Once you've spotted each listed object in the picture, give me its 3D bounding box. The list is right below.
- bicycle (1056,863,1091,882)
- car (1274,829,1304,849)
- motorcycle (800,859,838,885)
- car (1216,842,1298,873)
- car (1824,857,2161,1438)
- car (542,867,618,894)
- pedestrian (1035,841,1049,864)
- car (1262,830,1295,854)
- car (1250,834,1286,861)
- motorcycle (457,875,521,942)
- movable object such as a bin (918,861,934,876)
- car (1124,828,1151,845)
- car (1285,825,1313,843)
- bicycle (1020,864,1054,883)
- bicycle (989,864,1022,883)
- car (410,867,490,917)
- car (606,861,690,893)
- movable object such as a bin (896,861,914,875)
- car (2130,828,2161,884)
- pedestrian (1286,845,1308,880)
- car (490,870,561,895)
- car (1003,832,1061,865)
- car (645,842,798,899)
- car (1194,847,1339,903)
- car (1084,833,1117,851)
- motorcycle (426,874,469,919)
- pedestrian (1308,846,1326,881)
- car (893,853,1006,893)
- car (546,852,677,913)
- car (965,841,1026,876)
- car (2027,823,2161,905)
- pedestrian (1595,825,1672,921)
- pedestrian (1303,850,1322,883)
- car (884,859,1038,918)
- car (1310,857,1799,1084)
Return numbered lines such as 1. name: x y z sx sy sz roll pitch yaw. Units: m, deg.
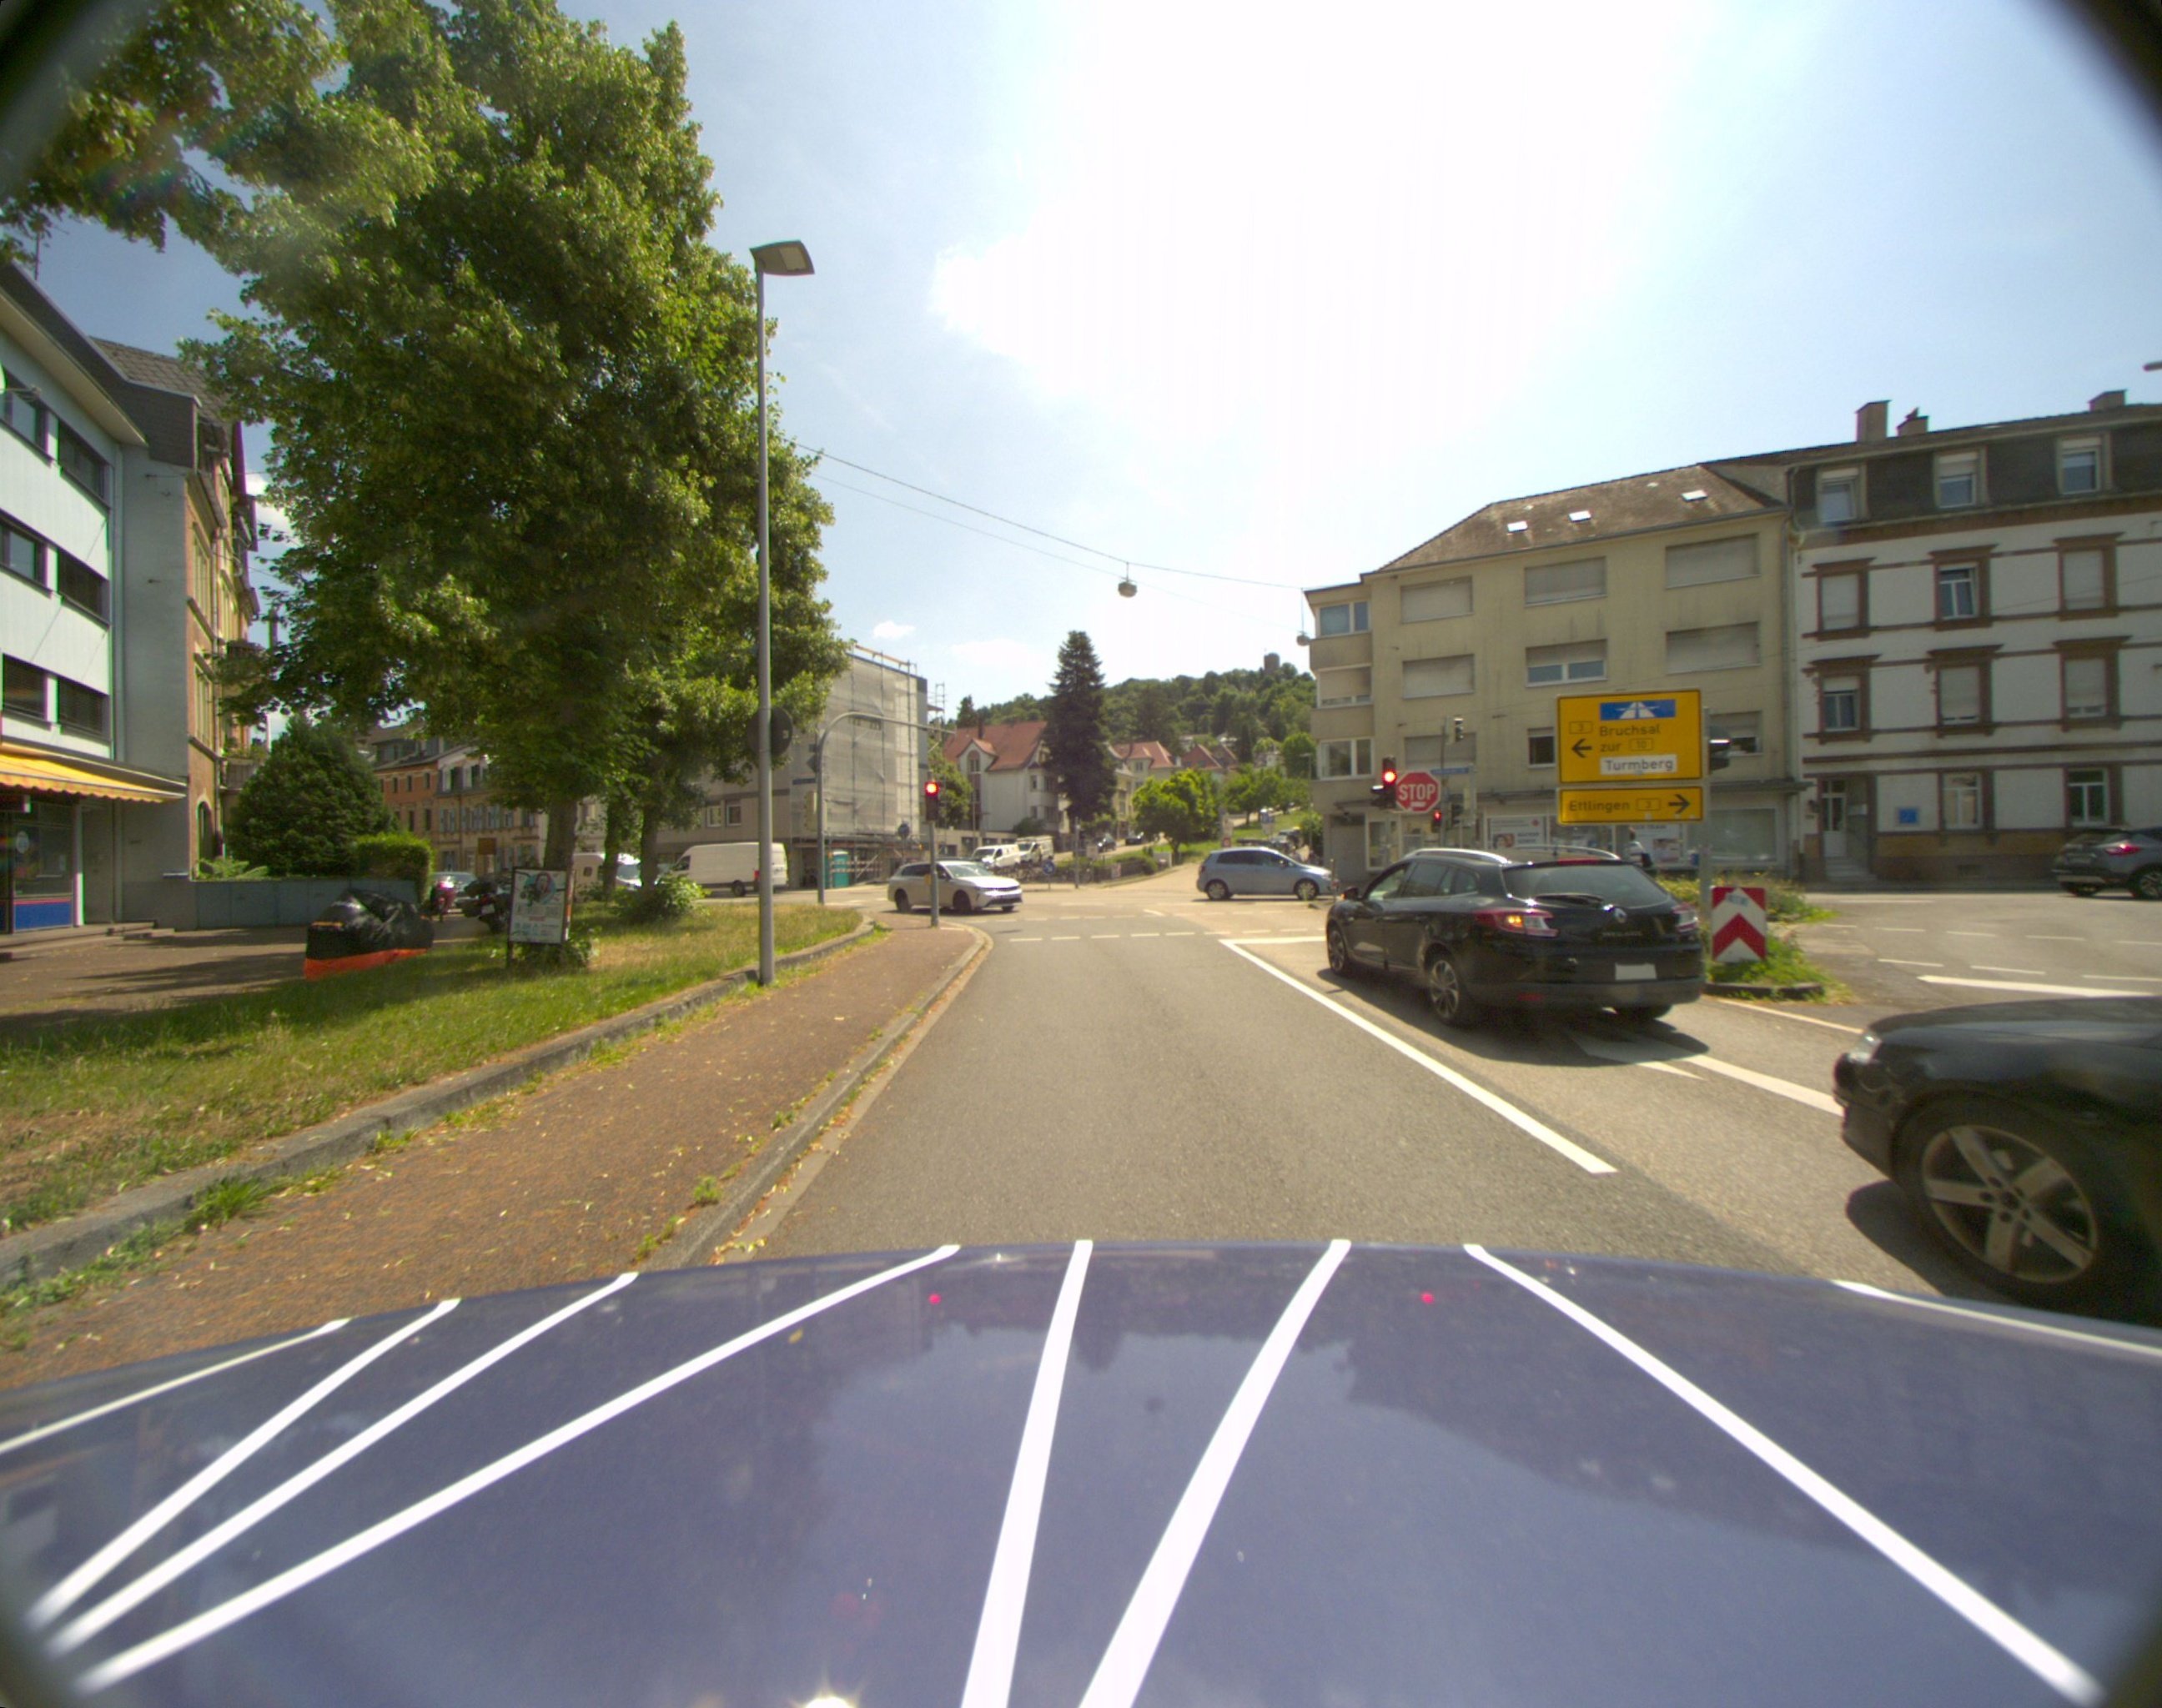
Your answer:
1. bicycle: -0.389 0.973 39.277 1.779 0.961 0.399 -1 1 22
2. car: 17.397 -1.281 63.371 1.805 1.380 4.004 -1 4 24
3. motorcycle: -15.949 1.087 46.195 2.045 1.463 0.880 -2 1 -25
4. car: 10.296 0.179 44.490 4.335 1.654 1.996 -1 0 -26
5. car: 3.811 0.776 0.658 1.998 1.510 4.512 -1 0 2
6. car: -31.688 1.665 48.030 4.651 1.631 1.895 -1 -1 25
7. pedestrian: -2.948 -0.132 57.453 0.741 1.704 0.713 -1 1 29
8. car: 15.307 -0.936 58.645 1.805 1.542 4.004 -1 4 24
9. car: 13.345 -0.478 54.017 1.805 1.607 4.004 -1 4 24
10. motorcycle: -13.096 1.156 16.873 0.920 1.305 2.219 -3 1 -34
11. movable object such as a bin: -10.356 0.964 50.630 0.702 0.921 0.742 -1 1 28
12. car: 5.897 -1.822 78.772 1.754 1.440 3.742 -2 4 21
13. car: 19.772 -1.814 68.824 1.805 1.413 4.004 -1 4 24
14. bicycle: -2.319 1.018 40.135 1.742 0.961 0.399 -1 1 22
15. bicycle: -4.062 1.043 40.821 1.715 0.961 0.399 -1 1 22
16. car: -22.072 1.310 26.498 1.844 1.539 5.143 0 -2 -43
17. car: -25.938 1.363 45.500 4.776 1.814 1.924 -1 -1 25
18. movable object such as a bin: -11.950 0.971 51.560 0.824 0.921 0.742 -1 1 28
19. car: 31.392 0.037 20.063 3.993 1.510 2.002 -1 1 13
20. pedestrian: 10.218 0.385 35.957 0.820 1.623 0.805 -1 1 27
21. car: -37.041 1.896 50.667 4.805 1.631 1.895 -1 -1 27
22. car: -3.733 -0.431 58.635 2.069 2.166 5.018 -1 4 28
23. car: -17.577 0.727 37.091 7.535 2.488 2.226 0 4 23
24. car: 5.599 0.635 22.861 3.991 1.559 1.762 -1 0 22
25. car: 1.820 -1.114 69.760 1.754 1.440 3.742 -2 4 21
26. motorcycle: -19.580 1.302 23.481 0.935 1.294 2.275 -1 -2 -42
27. pedestrian: 10.967 0.431 35.350 0.647 1.623 0.689 -1 1 27
28. car: -5.522 0.814 31.936 4.276 1.549 1.861 -2 1 24
29. car: -18.767 1.094 30.290 5.657 2.261 1.910 -1 0 30
30. car: -5.805 0.281 52.285 1.995 2.003 5.017 -2 3 22
31. car: 23.036 0.159 15.728 3.991 1.622 1.762 -2 1 19
32. pedestrian: 10.122 0.345 13.947 0.762 1.695 0.838 -1 1 0
33. pedestrian: 10.336 0.547 33.933 0.647 1.467 0.689 -1 1 27
34. car: -3.517 0.930 21.734 4.474 1.489 1.910 -1 0 41
35. car: 3.924 0.805 7.434 1.999 1.491 4.425 -1 0 0
